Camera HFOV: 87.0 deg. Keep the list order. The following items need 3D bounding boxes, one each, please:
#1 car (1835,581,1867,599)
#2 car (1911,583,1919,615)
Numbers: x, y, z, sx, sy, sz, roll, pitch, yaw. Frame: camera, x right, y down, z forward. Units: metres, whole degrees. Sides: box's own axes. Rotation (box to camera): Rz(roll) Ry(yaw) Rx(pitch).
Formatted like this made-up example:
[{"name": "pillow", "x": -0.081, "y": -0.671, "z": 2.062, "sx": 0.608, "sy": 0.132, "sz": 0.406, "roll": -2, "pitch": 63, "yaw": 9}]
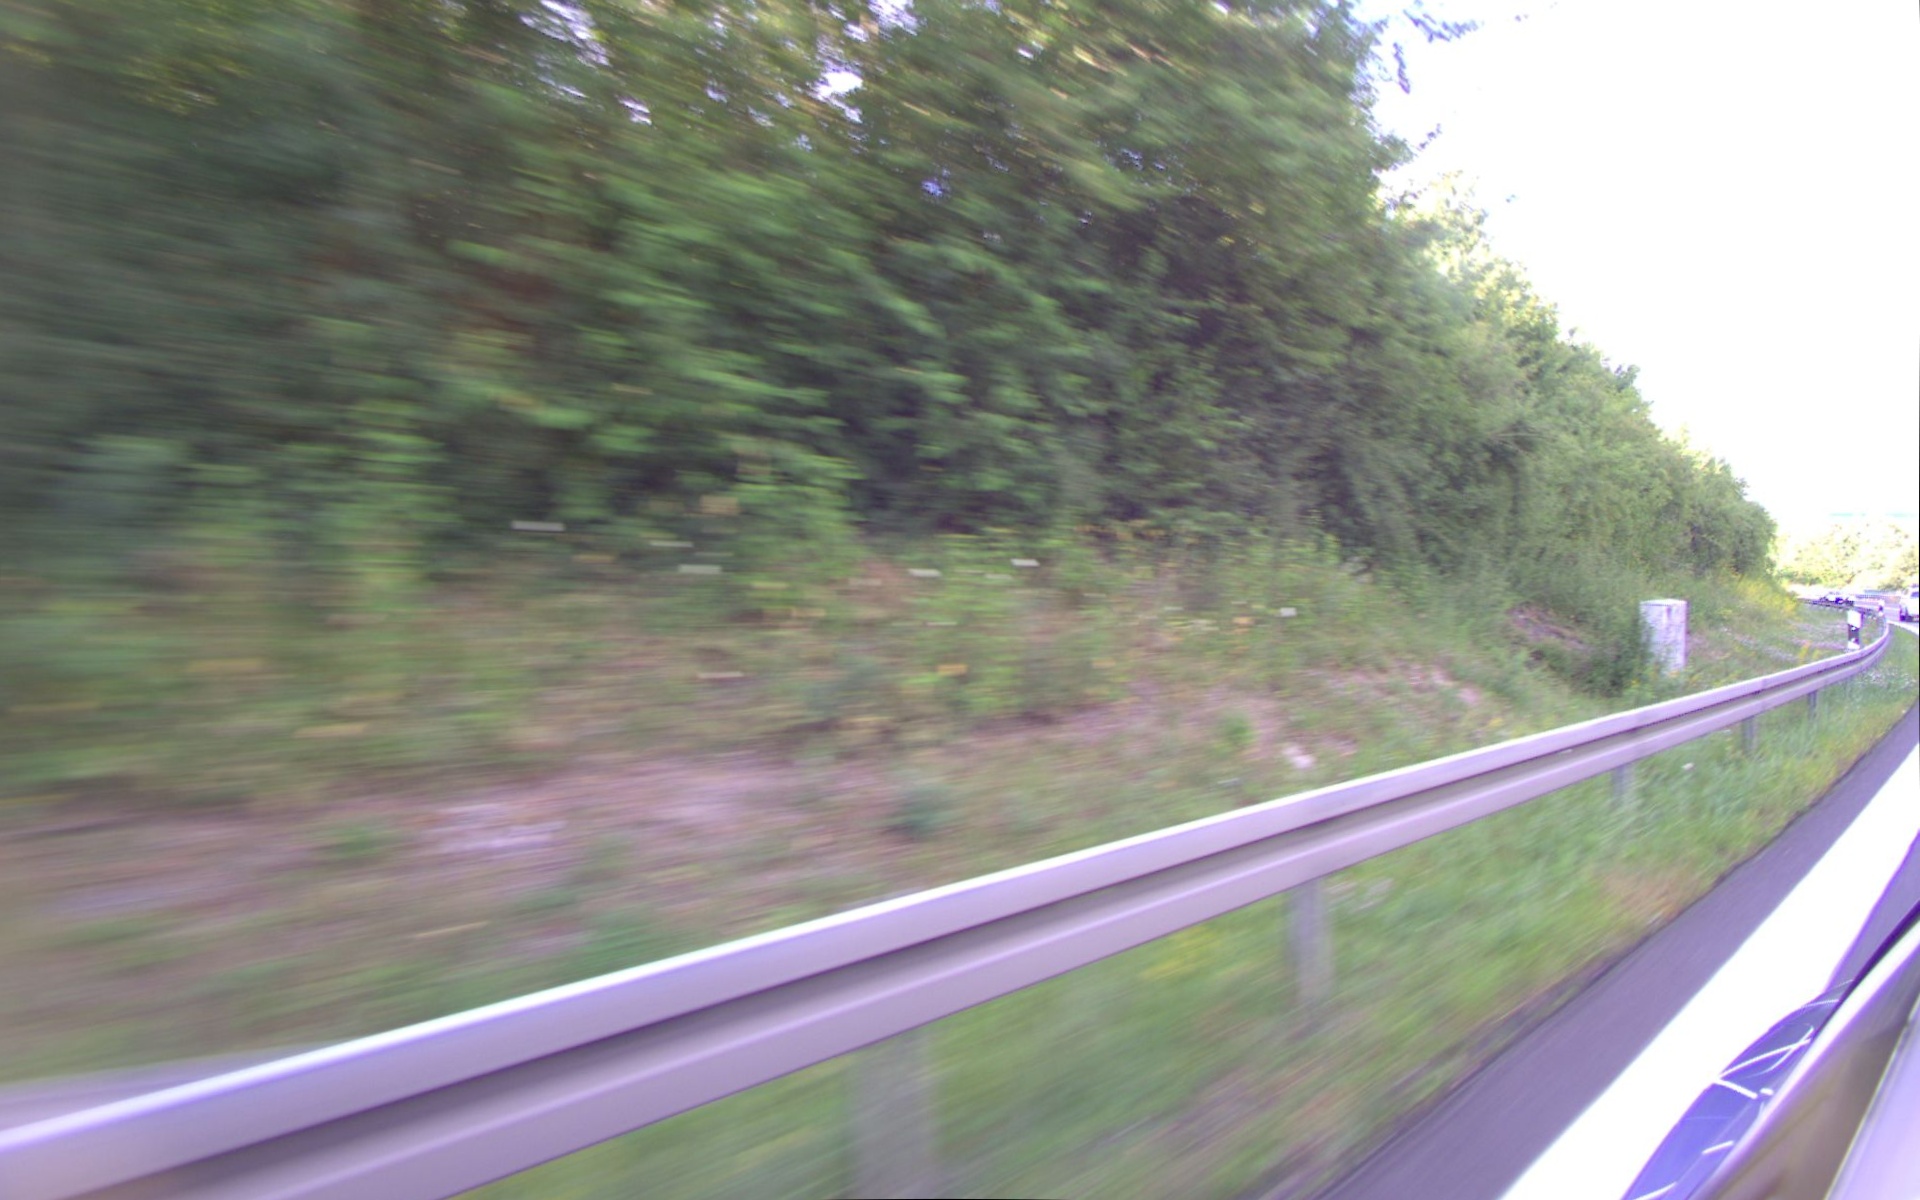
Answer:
[{"name": "car", "x": 76.097, "y": -0.890, "z": 86.471, "sx": 1.610, "sy": 1.478, "sz": 3.619, "roll": 0, "pitch": 2, "yaw": 34}, {"name": "car", "x": 51.166, "y": -0.074, "z": 52.688, "sx": 1.894, "sy": 1.686, "sz": 3.948, "roll": -1, "pitch": 0, "yaw": 36}]
